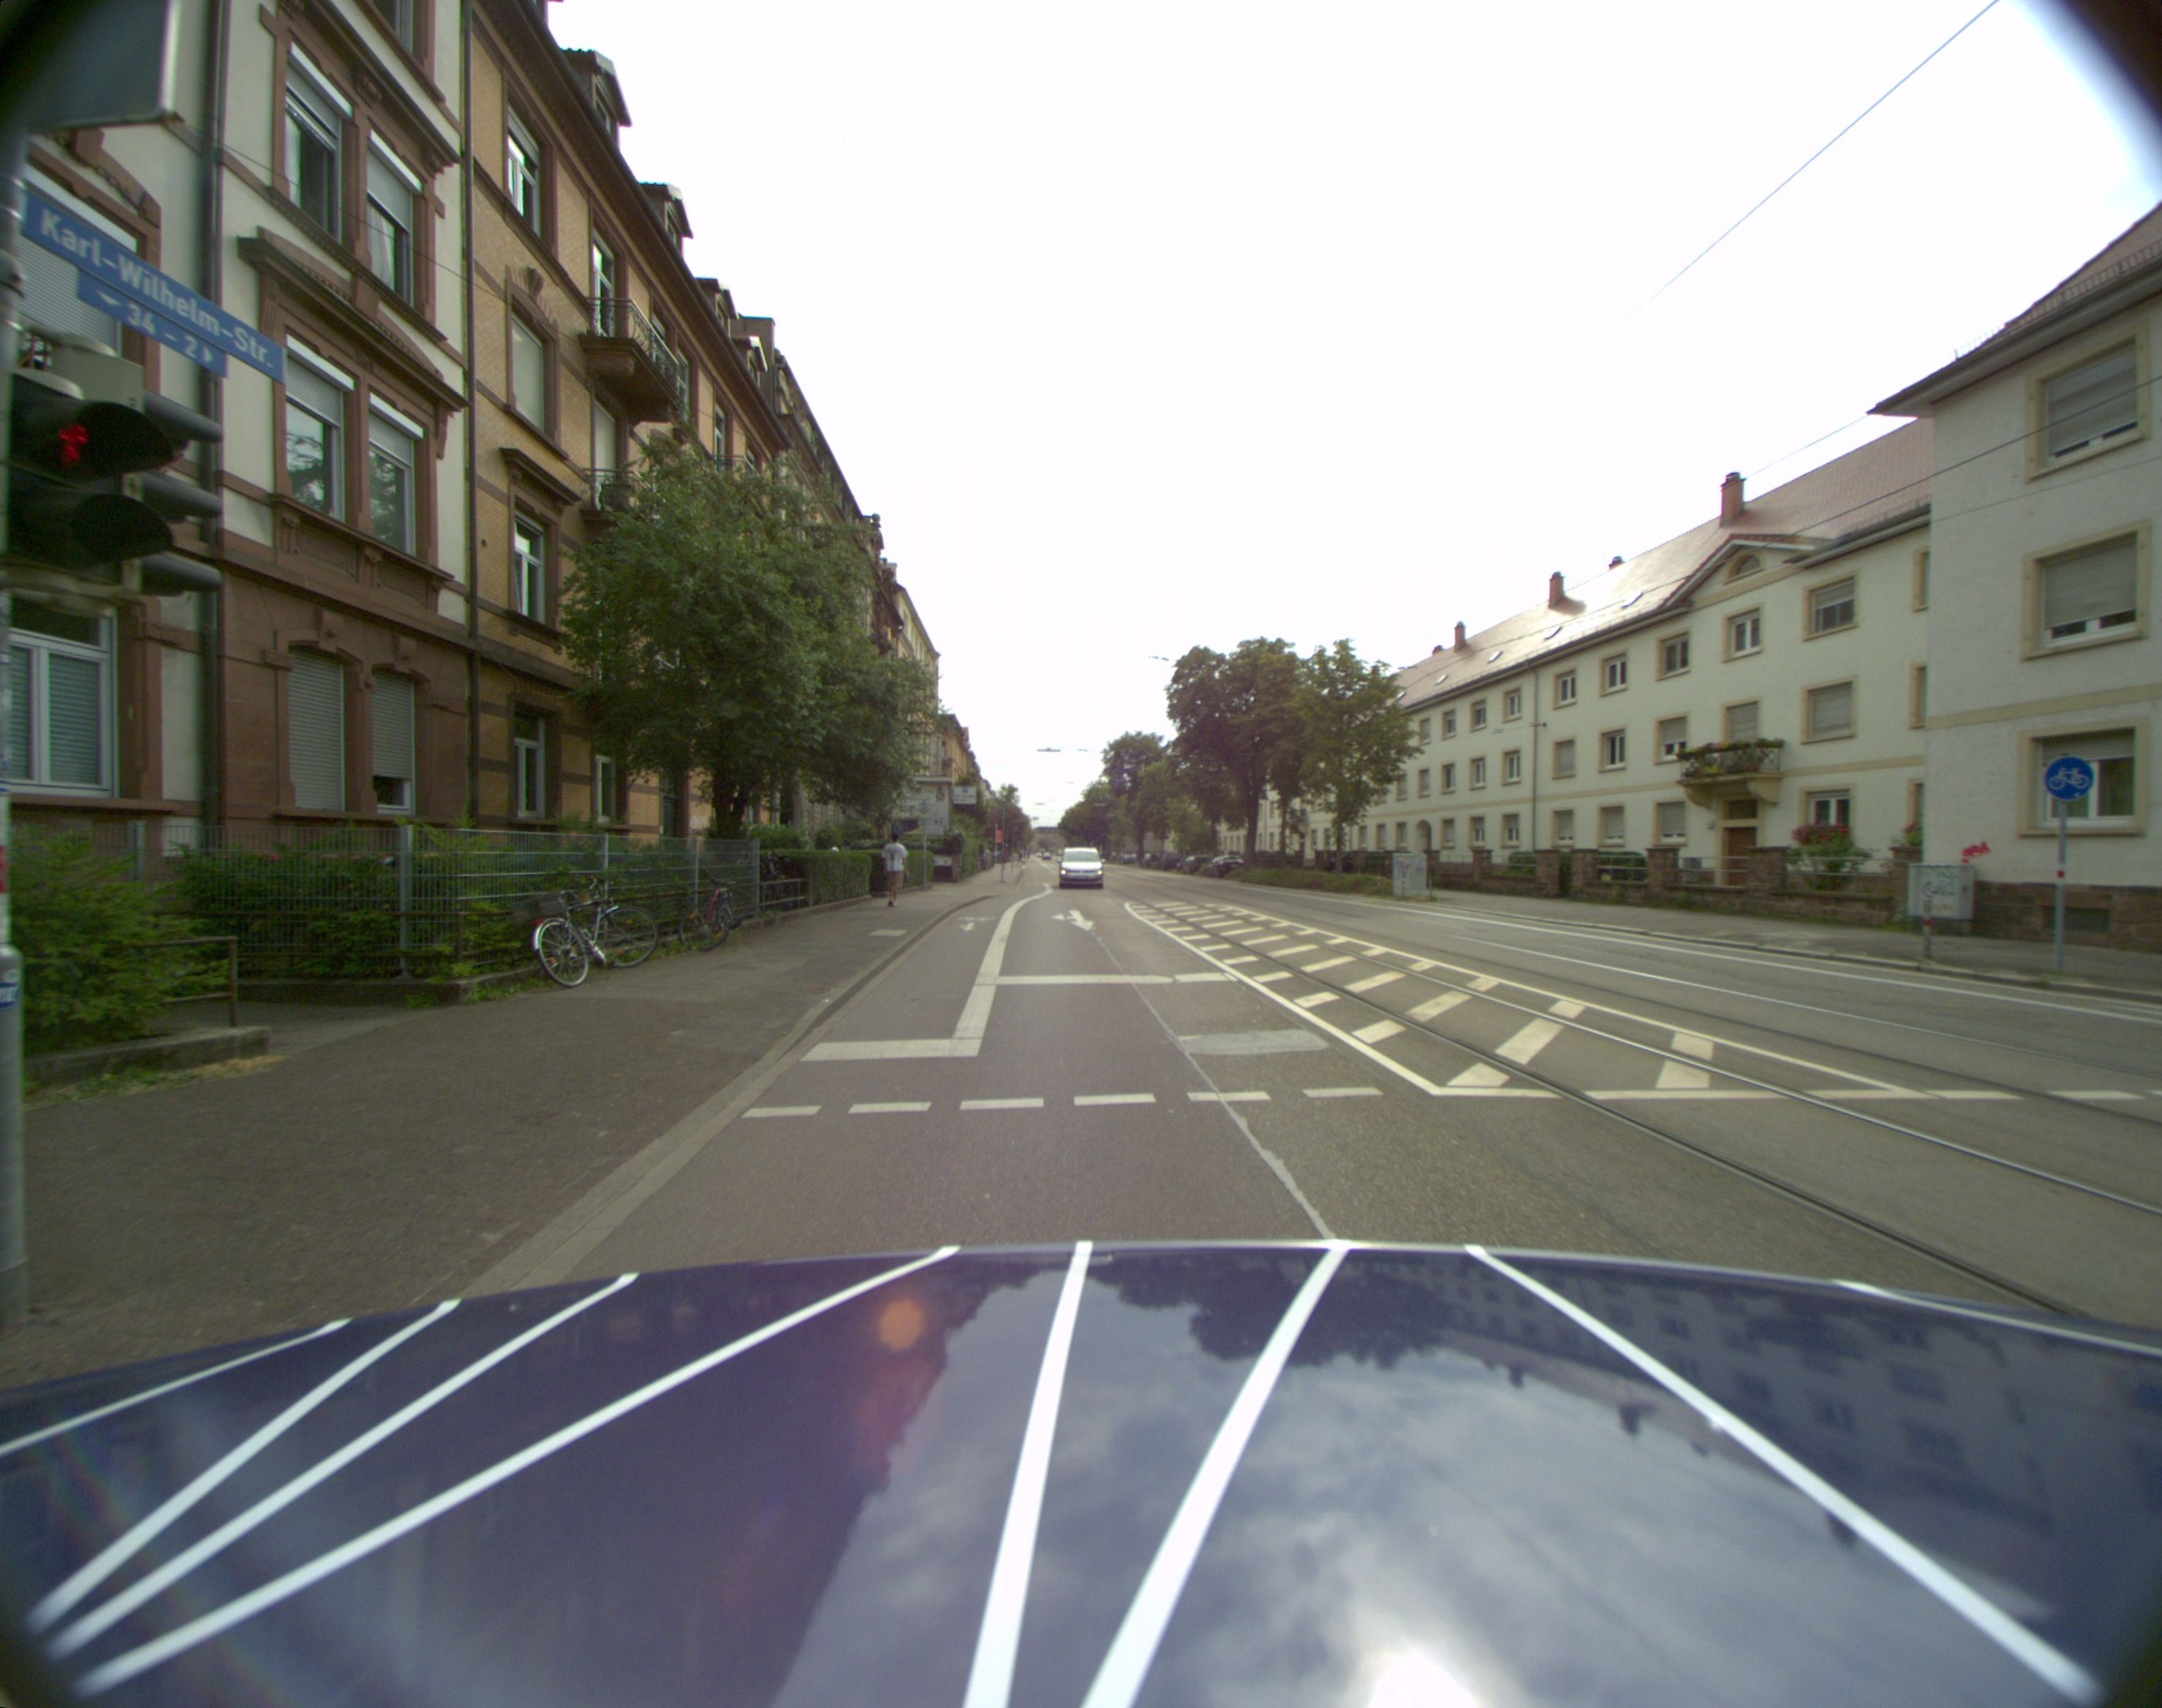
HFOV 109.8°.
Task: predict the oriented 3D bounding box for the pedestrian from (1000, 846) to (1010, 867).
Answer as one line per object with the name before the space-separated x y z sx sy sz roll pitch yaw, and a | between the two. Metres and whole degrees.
pedestrian | -5.907 0.168 58.958 0.732 1.614 0.835 1 1 -4

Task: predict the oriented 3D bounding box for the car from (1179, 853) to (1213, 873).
car | 8.762 0.661 58.160 1.701 1.415 4.298 -1 0 -4

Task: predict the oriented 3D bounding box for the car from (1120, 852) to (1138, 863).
car | 6.195 0.436 98.073 1.702 1.462 4.297 0 1 -6

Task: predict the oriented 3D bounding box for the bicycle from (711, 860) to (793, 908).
bicycle | -7.084 0.649 16.404 1.549 1.003 0.444 1 1 -5

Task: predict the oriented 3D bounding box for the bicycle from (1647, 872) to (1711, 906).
bicycle | 17.574 1.016 22.359 0.479 0.910 1.671 1 0 -3

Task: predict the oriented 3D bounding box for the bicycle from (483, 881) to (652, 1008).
bicycle | -5.192 0.865 7.825 0.673 1.100 1.671 1 0 -3

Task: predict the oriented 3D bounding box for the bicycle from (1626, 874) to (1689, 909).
bicycle | 16.623 1.060 21.949 0.479 0.910 1.671 1 0 -3

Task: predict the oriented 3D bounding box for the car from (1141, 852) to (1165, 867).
car | 7.421 0.514 78.791 1.702 1.462 4.297 1 0 -6

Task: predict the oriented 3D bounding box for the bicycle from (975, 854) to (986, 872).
bicycle | -6.444 0.546 48.870 0.580 1.105 1.671 1 0 -5

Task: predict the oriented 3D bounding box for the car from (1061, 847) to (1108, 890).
car | 0.153 0.553 32.749 1.876 1.670 5.131 1 1 0

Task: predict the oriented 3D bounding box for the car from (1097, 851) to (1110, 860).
car | 3.937 0.237 135.333 1.732 1.462 4.297 1 0 -6

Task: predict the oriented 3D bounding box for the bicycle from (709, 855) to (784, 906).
bicycle | -7.923 0.627 18.039 1.549 1.174 0.517 1 1 -5

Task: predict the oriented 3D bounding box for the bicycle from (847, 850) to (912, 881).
bicycle | -8.686 0.483 32.852 2.631 1.304 0.770 1 1 -6

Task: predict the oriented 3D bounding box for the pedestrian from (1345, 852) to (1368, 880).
pedestrian | 14.136 0.608 39.014 0.835 1.456 0.732 1 1 -9

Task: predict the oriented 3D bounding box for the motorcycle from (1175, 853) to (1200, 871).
motorcycle | 8.677 0.661 62.023 1.872 1.253 0.591 -5 2 -7

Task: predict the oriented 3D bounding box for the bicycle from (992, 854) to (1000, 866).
bicycle | -7.353 0.519 65.698 0.580 0.977 1.671 4 0 -5

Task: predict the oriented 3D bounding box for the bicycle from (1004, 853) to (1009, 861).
bicycle | -9.655 0.398 98.459 0.631 1.106 1.873 1 0 -3

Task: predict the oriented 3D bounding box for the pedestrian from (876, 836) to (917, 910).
pedestrian | -4.472 0.452 18.451 0.732 1.744 0.949 1 1 1

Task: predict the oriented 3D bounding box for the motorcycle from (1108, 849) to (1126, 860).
motorcycle | 5.377 0.057 113.636 2.311 1.382 0.838 -4 2 28

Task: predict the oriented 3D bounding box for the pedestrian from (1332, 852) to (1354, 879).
pedestrian | 13.930 0.607 40.368 0.835 1.456 0.732 1 1 -9

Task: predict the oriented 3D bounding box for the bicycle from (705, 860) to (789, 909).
bicycle | -7.007 0.631 15.967 1.549 1.003 0.444 1 1 -5

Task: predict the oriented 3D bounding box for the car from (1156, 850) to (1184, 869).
car | 8.134 0.485 69.618 1.790 1.602 4.298 1 0 -4

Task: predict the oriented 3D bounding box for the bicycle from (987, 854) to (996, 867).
bicycle | -7.056 0.525 59.816 0.580 0.977 1.671 4 0 -5

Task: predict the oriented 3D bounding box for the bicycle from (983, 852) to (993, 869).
bicycle | -6.618 0.461 54.225 0.580 1.105 1.671 4 0 -5

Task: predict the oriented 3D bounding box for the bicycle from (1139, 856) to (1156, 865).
bicycle | 7.288 0.721 83.467 1.673 0.965 0.672 1 1 -12

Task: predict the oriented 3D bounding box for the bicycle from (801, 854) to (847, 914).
bicycle | -5.679 0.636 16.854 0.517 1.274 1.550 1 1 -1

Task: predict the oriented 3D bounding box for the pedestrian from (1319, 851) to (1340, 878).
pedestrian | 13.783 0.574 42.189 0.835 1.503 0.732 1 1 -9

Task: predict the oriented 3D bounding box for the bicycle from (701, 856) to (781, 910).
bicycle | -7.649 0.640 17.118 1.549 1.174 0.517 1 1 -5

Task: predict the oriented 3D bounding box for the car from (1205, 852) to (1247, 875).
car | 9.512 0.590 50.194 1.701 1.415 4.298 -2 1 -4

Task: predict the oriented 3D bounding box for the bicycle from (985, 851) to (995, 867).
bicycle | -6.751 0.361 56.192 0.580 1.105 1.671 4 0 -5

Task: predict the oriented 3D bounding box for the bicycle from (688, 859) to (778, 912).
bicycle | -6.838 0.622 14.955 1.549 1.003 0.444 1 1 -5

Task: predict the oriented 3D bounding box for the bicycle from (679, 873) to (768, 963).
bicycle | -4.928 0.841 10.565 0.510 1.082 1.549 4 0 -3

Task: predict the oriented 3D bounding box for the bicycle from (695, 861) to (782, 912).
bicycle | -6.985 0.660 15.534 1.549 1.003 0.444 1 1 -5
